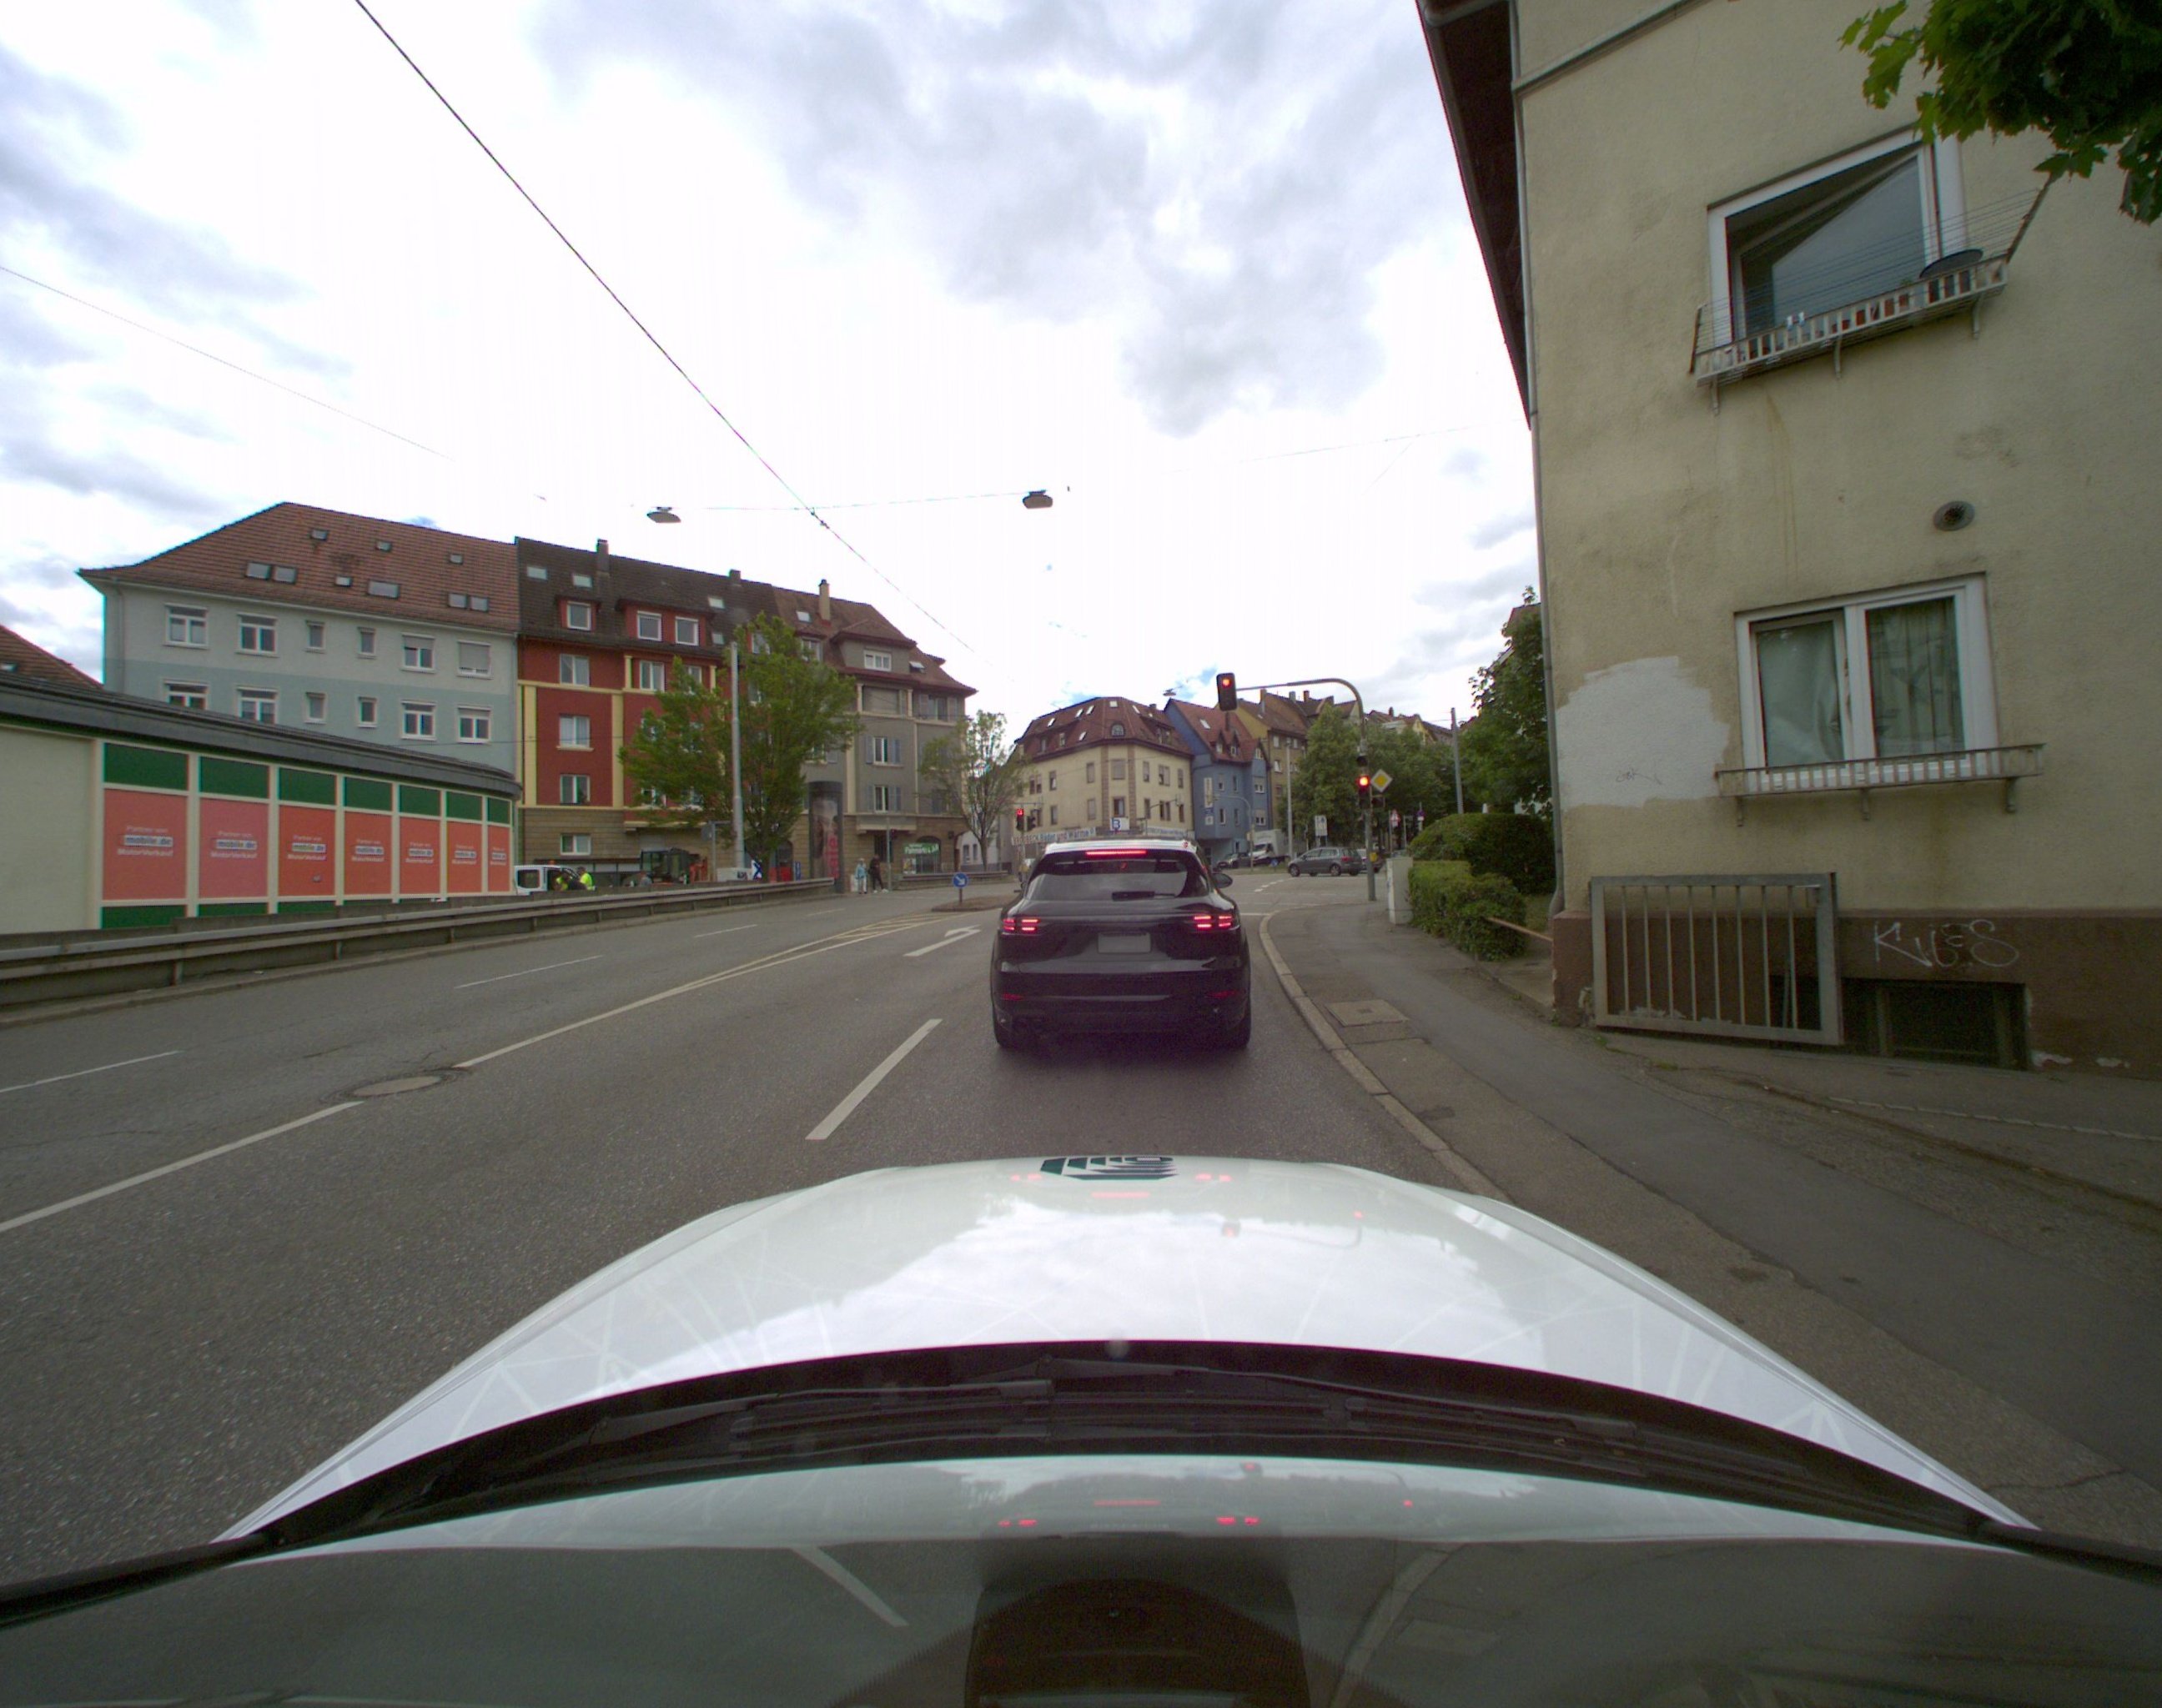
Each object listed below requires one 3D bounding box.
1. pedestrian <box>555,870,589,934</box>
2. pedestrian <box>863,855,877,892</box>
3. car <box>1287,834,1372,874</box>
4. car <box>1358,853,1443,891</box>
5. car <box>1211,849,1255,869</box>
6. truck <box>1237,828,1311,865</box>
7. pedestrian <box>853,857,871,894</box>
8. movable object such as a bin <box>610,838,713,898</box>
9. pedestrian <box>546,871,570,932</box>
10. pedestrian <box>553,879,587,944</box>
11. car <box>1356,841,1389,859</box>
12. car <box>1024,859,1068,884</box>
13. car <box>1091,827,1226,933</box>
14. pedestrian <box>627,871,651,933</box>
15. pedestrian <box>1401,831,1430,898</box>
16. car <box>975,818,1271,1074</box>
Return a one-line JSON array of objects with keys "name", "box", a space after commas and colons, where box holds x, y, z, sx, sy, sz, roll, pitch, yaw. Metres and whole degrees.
[{"name": "pedestrian", "box": [-14.409, 1.336, 23.070, 0.565, 1.761, 0.622, 0, -1, 37]}, {"name": "pedestrian", "box": [-9.766, 0.899, 37.712, 0.511, 1.730, 0.451, 1, -1, 4]}, {"name": "car", "box": [13.256, 0.048, 43.585, 2.009, 2.014, 3.955, 1, -1, -37]}, {"name": "car", "box": [17.692, 1.009, 45.258, 2.007, 2.014, 3.959, 1, -1, -33]}, {"name": "car", "box": [13.419, 0.447, 71.742, 1.975, 1.684, 4.024, -2, -1, 43]}, {"name": "truck", "box": [18.638, -0.684, 78.290, 2.846, 3.340, 8.846, 0, 0, 43]}, {"name": "pedestrian", "box": [-9.559, 0.939, 35.533, 0.587, 1.567, 0.486, 1, -1, 1]}, {"name": "movable object such as a bin", "box": [-13.423, 0.432, 26.345, 1.903, 1.771, 3.984, 1, 0, -11]}, {"name": "pedestrian", "box": [-15.227, 1.372, 23.710, 0.479, 1.730, 0.536, 1, -1, -44]}, {"name": "pedestrian", "box": [-13.707, 1.523, 21.842, 0.562, 1.700, 0.541, 1, -1, -10]}, {"name": "car", "box": [33.131, -0.431, 92.617, 1.975, 2.014, 4.023, 0, -1, 45]}, {"name": "car", "box": [-2.377, 1.186, 56.987, 1.875, 1.579, 3.985, -3, -1, 15]}, {"name": "car", "box": [1.583, 0.437, 15.155, 1.980, 1.684, 4.014, -1, 0, 12]}, {"name": "pedestrian", "box": [-12.594, 1.358, 23.205, 0.545, 1.730, 0.587, 1, -1, -33]}, {"name": "pedestrian", "box": [9.212, 0.278, 22.426, 0.587, 1.819, 0.529, 1, -1, 1]}, {"name": "car", "box": [0.258, 0.600, 7.503, 1.973, 1.684, 3.998, -1, 0, -1]}]
